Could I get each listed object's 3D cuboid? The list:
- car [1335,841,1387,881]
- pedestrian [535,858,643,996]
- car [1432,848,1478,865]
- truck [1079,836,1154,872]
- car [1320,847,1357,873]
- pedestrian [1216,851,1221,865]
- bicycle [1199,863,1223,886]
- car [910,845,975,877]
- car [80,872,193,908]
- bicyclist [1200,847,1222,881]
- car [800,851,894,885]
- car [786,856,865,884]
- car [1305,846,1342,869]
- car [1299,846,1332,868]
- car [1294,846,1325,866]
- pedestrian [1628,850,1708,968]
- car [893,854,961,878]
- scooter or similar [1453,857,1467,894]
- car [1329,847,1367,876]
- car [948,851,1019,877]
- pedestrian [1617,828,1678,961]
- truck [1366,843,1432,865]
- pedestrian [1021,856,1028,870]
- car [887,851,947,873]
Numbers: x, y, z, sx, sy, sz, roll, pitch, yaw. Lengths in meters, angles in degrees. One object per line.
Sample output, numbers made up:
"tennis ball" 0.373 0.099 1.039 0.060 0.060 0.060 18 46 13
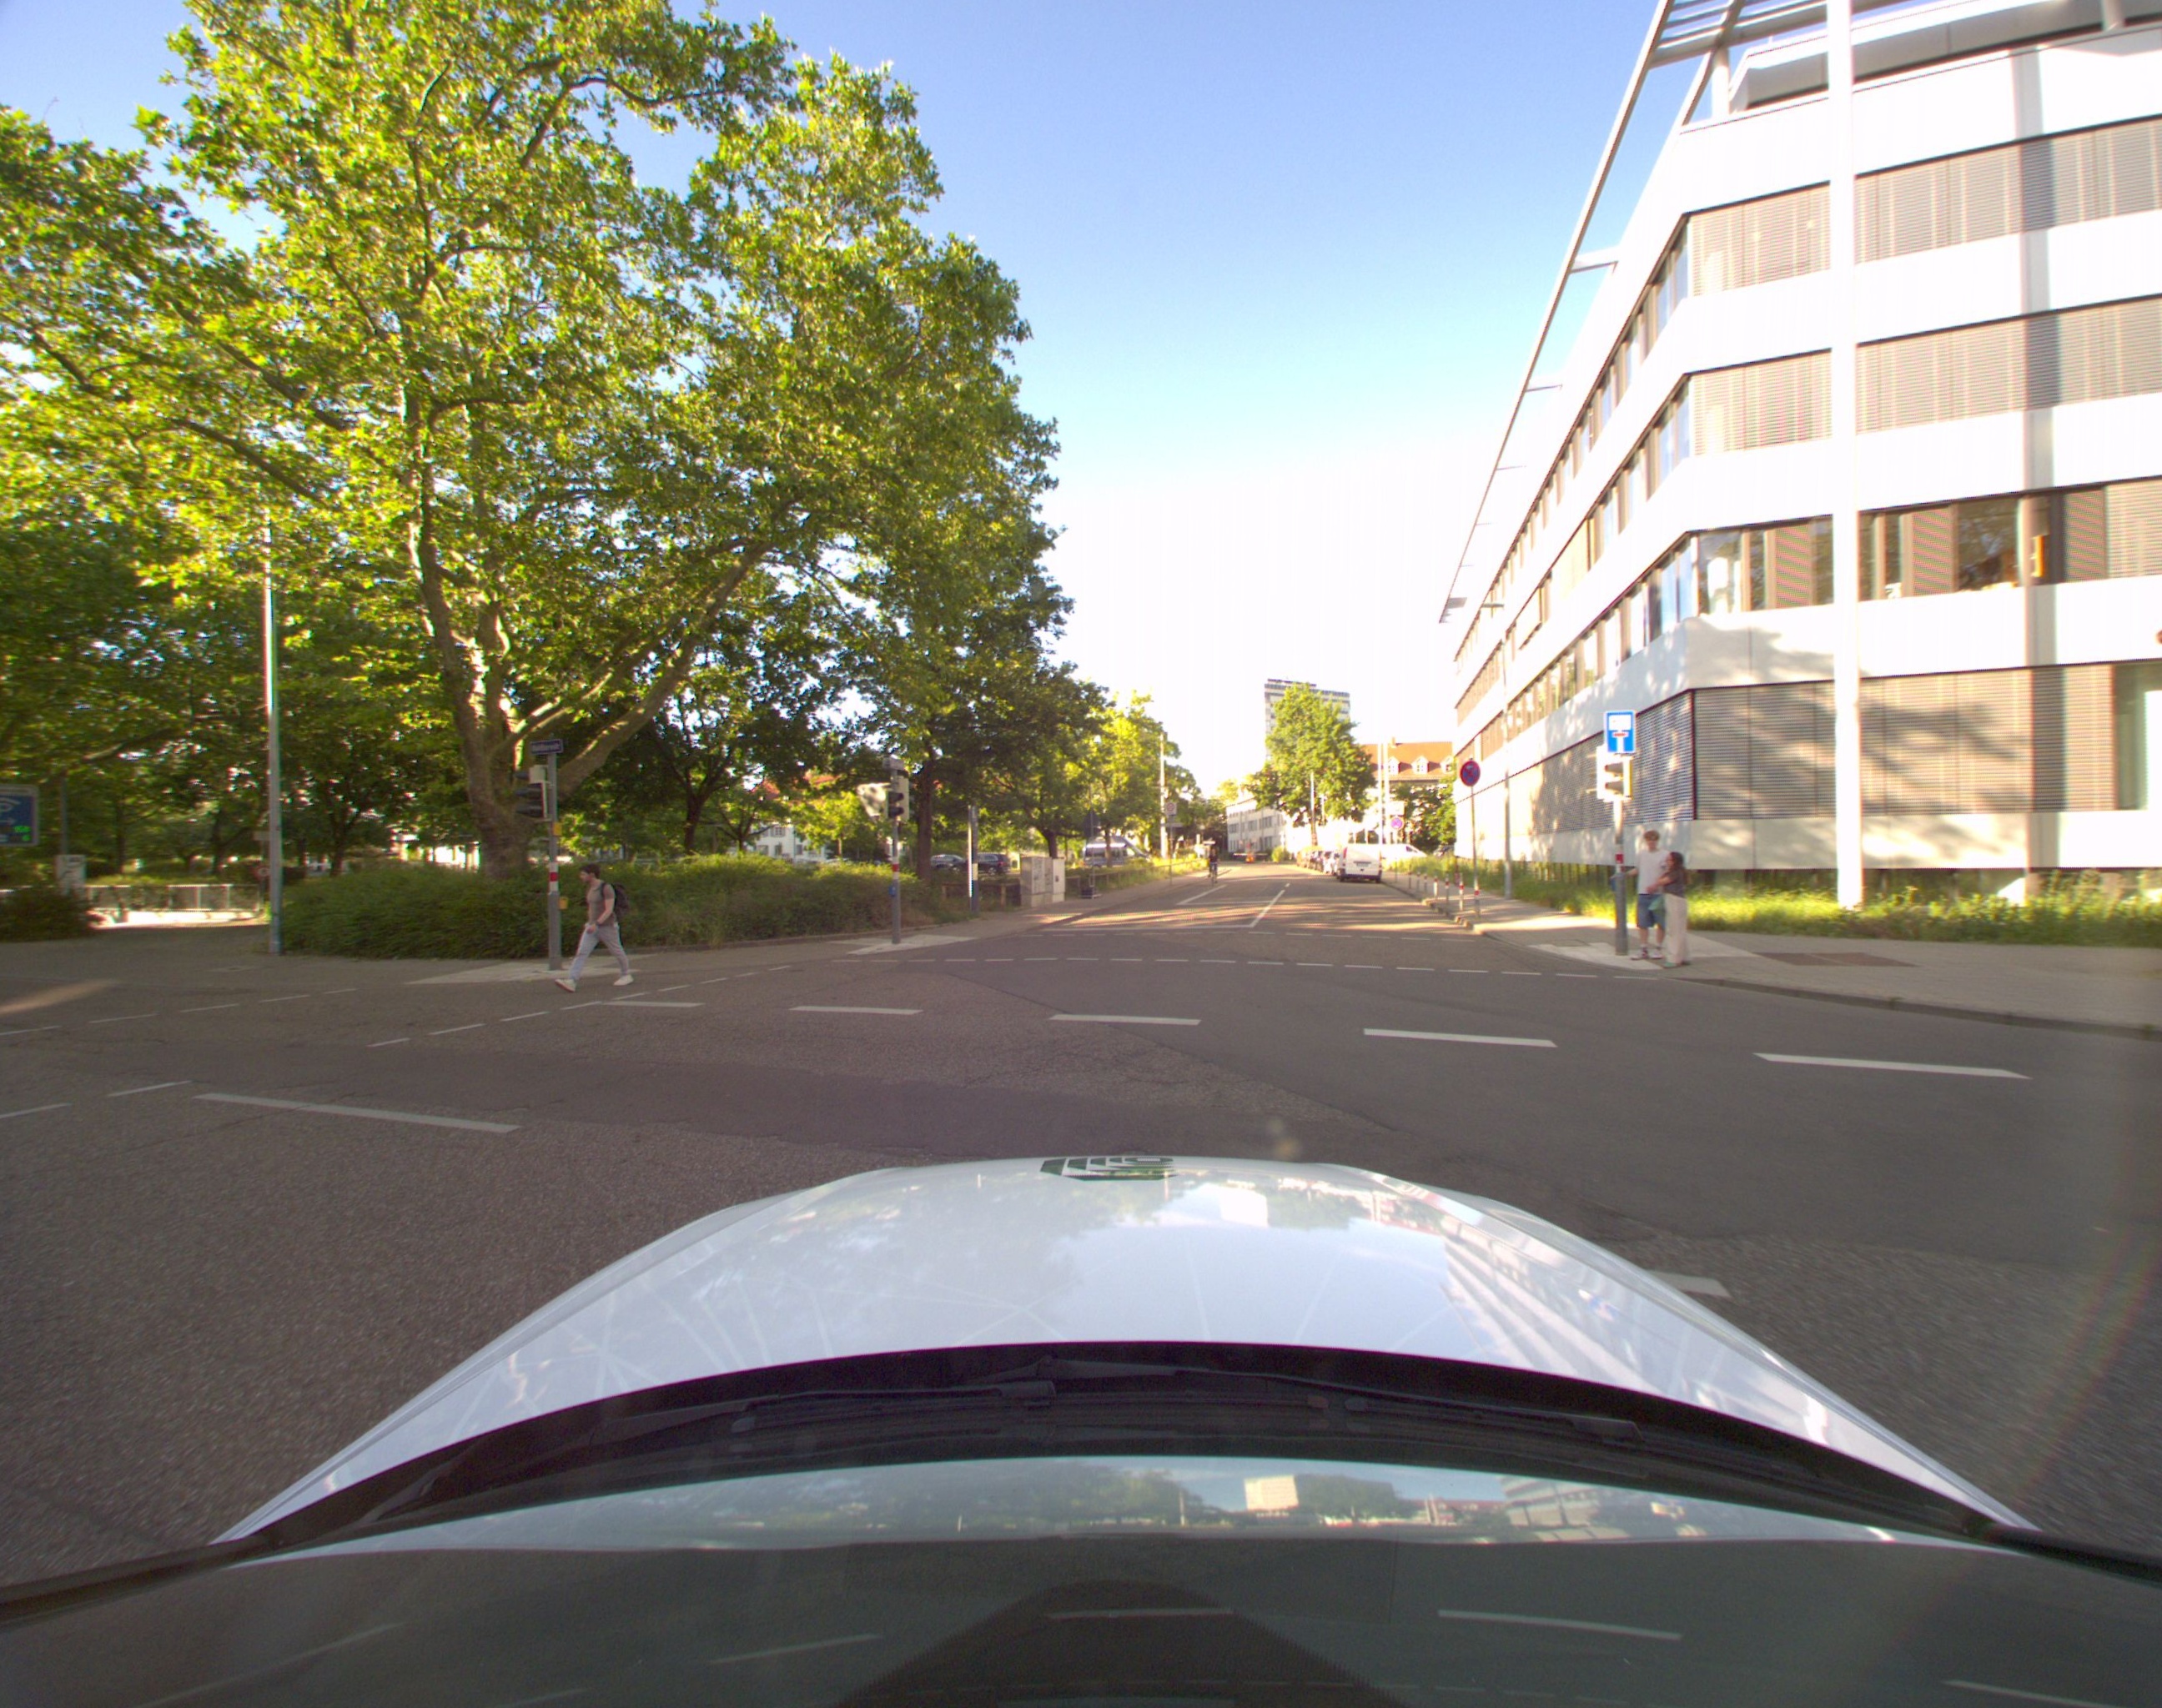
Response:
"car" 13.427 0.282 39.309 2.070 1.795 4.433 0 1 15
"pedestrian" -6.480 0.923 10.752 0.696 1.723 0.960 -2 -1 23
"car" 33.778 0.240 73.603 3.537 1.546 1.561 0 0 6
"truck" 2.462 0.014 55.792 4.793 2.399 2.096 0 0 15
"car" 16.658 0.331 52.776 1.876 1.555 4.430 0 1 12
"pedestrian" 15.797 0.466 93.374 0.542 1.677 0.477 -1 0 8
"bicycle" 6.137 0.964 38.317 0.859 1.009 2.423 -3 -1 14
"car" -10.875 0.579 64.055 4.520 2.392 2.083 -2 -1 16
"car" -48.819 1.869 42.105 4.520 1.730 2.083 -2 -1 16
"bicyclist" 6.124 0.469 38.331 0.859 1.515 1.023 -3 -1 14
"car" -12.913 0.779 45.040 4.520 1.730 2.083 -2 -1 16
"car" -17.026 1.072 54.331 4.520 1.730 2.083 -2 -1 16
"car" 17.892 0.229 60.235 1.878 1.655 4.424 0 1 7
"car" 18.706 0.238 65.053 1.878 1.655 4.424 0 1 7
"car" 19.726 0.147 70.393 1.878 1.655 4.424 0 1 7
"pedestrian" 8.058 0.734 11.205 0.556 1.540 0.678 -4 -1 7
"car" -11.654 0.901 61.758 4.520 1.730 2.083 -2 -1 16
"scooter or similar" 14.785 0.818 31.766 0.327 1.424 1.341 1 0 19
"car" 15.490 0.388 47.382 1.874 1.555 4.433 0 1 15
"car" -7.026 0.746 58.768 4.520 1.730 2.083 -2 -1 16
"pedestrian" 8.215 0.573 11.805 0.554 1.851 0.681 -4 -1 41
"truck" 29.050 -0.003 74.466 5.311 2.013 2.003 0 0 6
"pedestrian" -5.405 0.866 78.037 0.556 1.323 0.577 -1 0 -1
"car" -13.871 0.708 69.022 4.520 1.730 2.083 -2 -1 16
